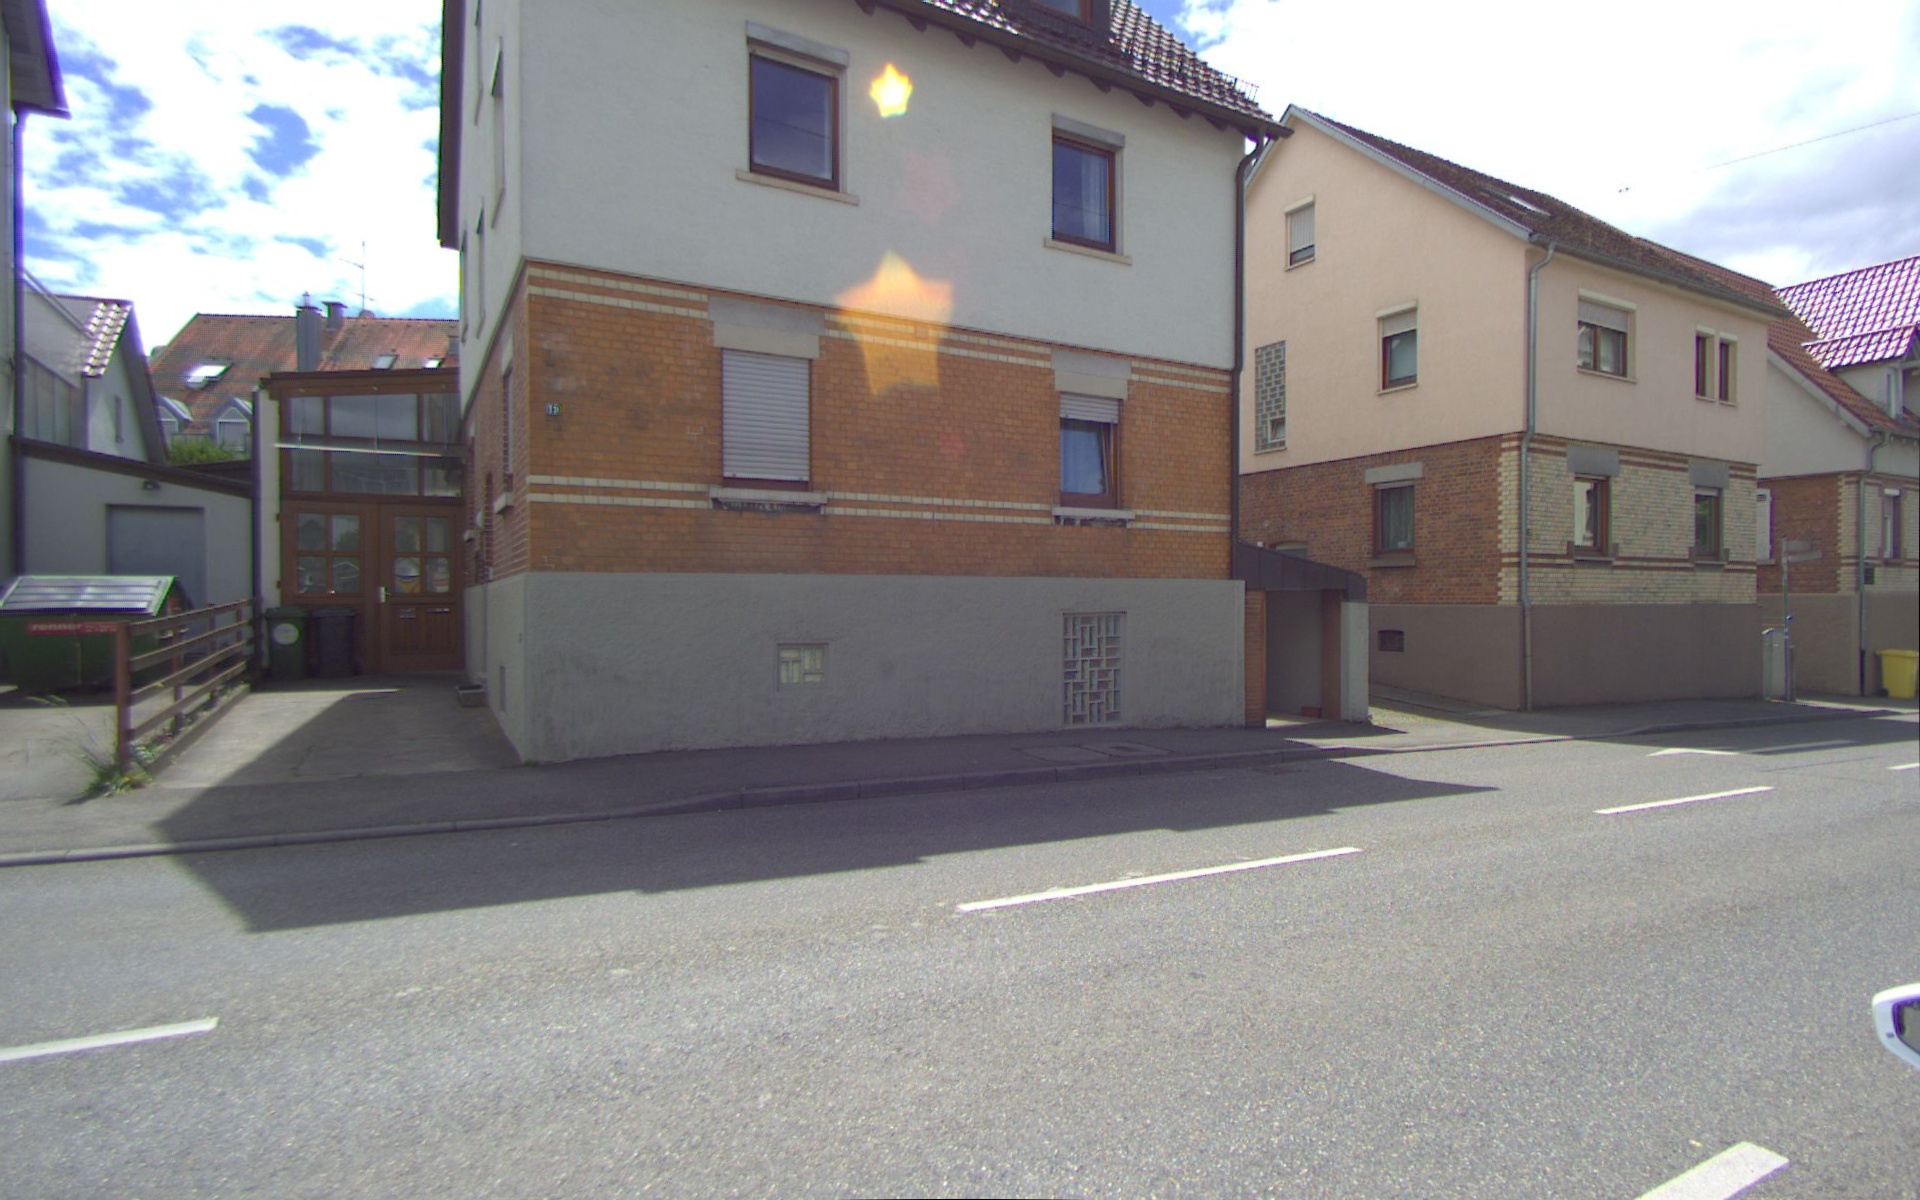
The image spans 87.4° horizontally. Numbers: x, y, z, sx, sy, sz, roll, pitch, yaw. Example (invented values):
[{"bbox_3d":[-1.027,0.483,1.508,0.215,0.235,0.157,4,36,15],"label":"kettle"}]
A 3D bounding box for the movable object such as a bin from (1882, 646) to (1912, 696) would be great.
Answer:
[{"bbox_3d":[21.545,1.624,23.100,0.296,1.143,0.429,1,-1,-31],"label":"movable object such as a bin"}]

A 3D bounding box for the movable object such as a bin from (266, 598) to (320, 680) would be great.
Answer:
[{"bbox_3d":[-9.821,0.565,14.804,0.569,1.165,0.680,1,-1,-28],"label":"movable object such as a bin"}]

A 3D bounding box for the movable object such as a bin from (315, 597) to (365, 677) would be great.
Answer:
[{"bbox_3d":[-9.309,0.554,15.095,0.569,1.165,0.680,1,-1,-28],"label":"movable object such as a bin"}]
